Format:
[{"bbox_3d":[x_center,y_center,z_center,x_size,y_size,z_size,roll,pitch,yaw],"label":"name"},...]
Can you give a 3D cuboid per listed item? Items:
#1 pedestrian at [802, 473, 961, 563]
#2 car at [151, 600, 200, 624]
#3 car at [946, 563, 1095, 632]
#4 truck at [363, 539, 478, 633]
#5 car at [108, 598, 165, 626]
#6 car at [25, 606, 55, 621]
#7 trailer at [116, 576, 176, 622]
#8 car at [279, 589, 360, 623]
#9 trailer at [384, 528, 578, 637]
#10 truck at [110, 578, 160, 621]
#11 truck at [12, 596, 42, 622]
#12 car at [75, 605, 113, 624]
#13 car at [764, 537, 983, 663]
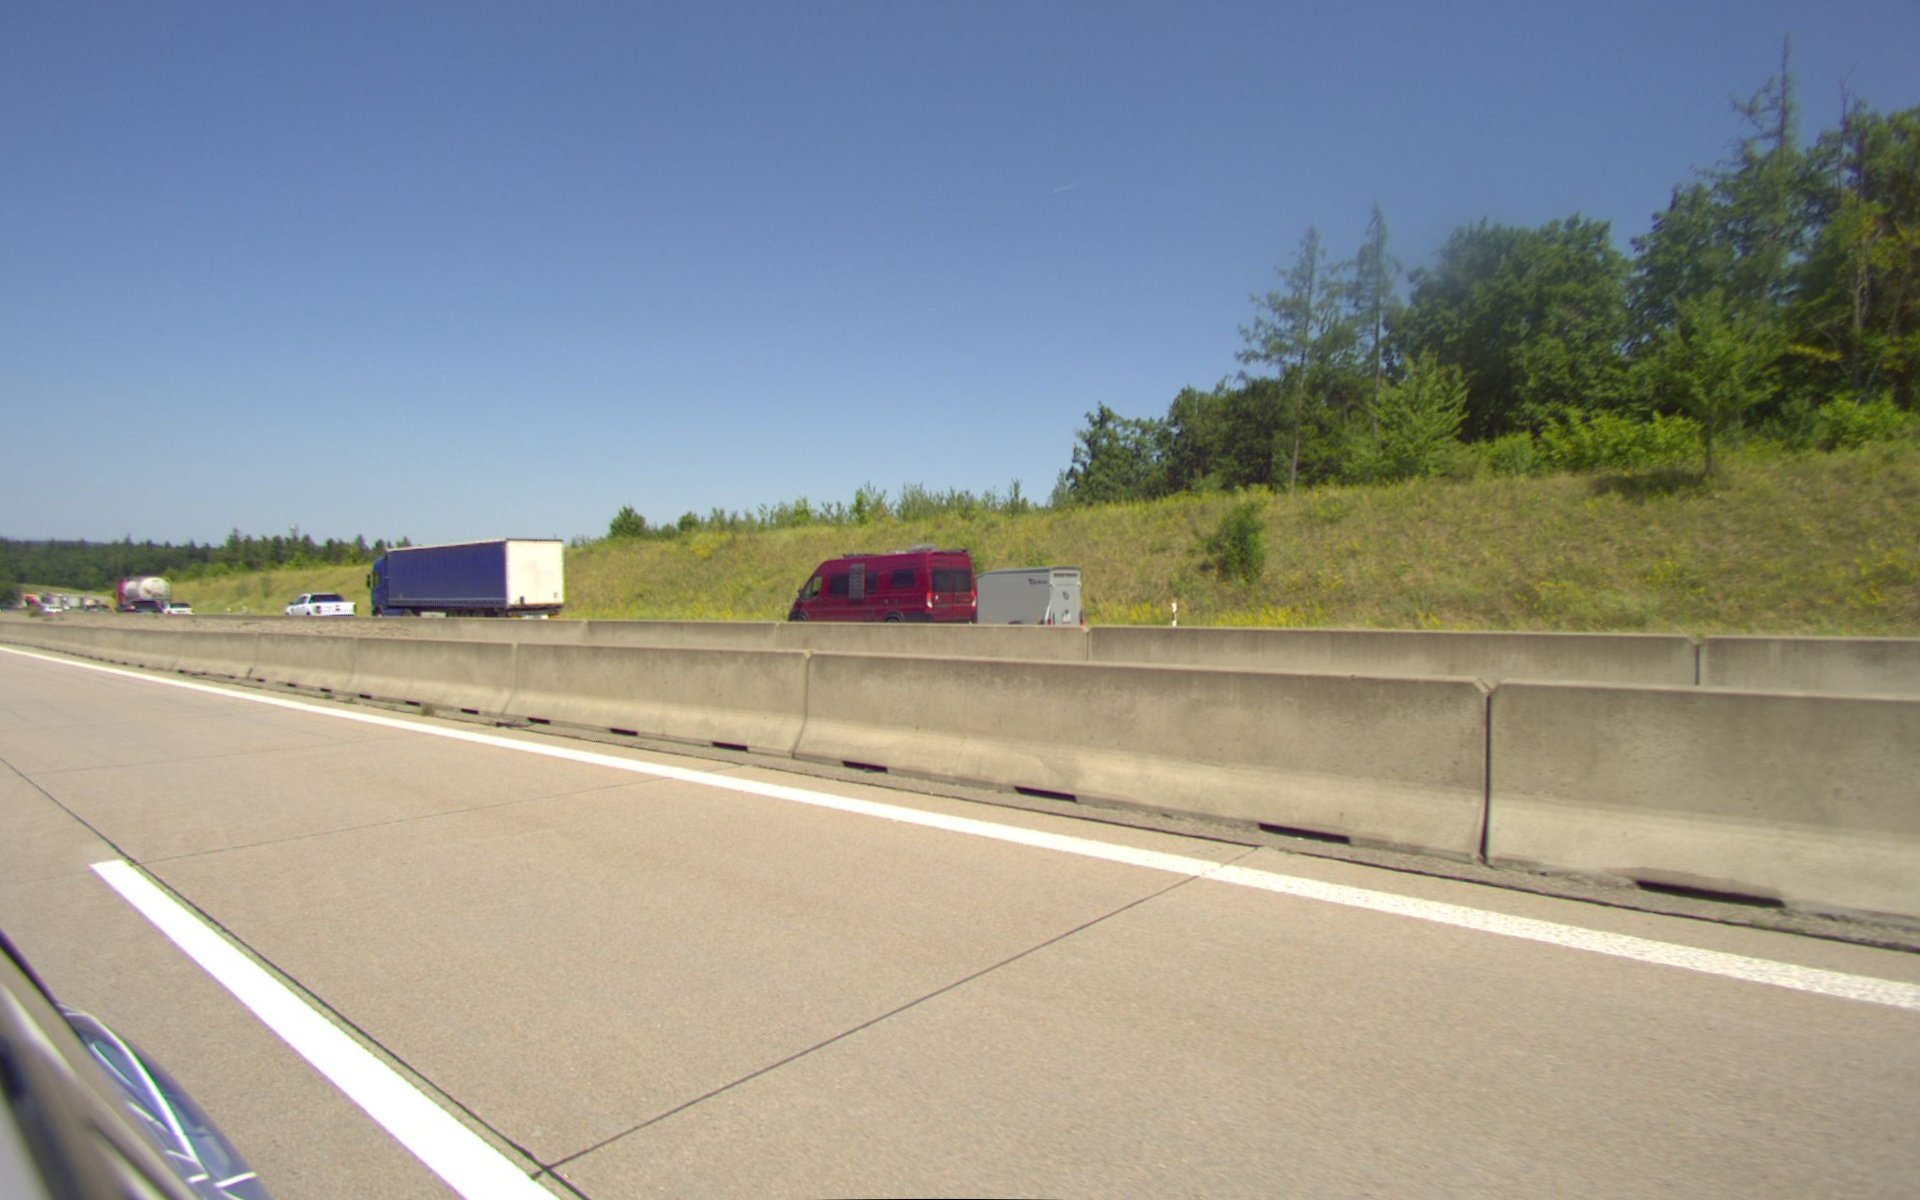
[{"bbox_3d":[-2.122,-2.080,26.744,3.998,2.029,1.973,0,0,41],"label":"pedestrian"},{"bbox_3d":[-55.509,0.837,71.588,4.528,1.595,1.972,-1,-1,42],"label":"car"},{"bbox_3d":[1.503,-0.030,25.854,3.575,1.613,1.597,0,-2,41],"label":"car"},{"bbox_3d":[-28.025,-0.677,52.470,6.572,4.538,3.222,0,0,41],"label":"truck"},{"bbox_3d":[-48.945,0.684,60.112,4.401,1.595,1.972,-1,-1,42],"label":"car"},{"bbox_3d":[-99.123,1.444,109.022,4.178,1.595,1.972,-1,-1,42],"label":"car"},{"bbox_3d":[-77.646,-0.062,96.471,9.331,4.200,2.903,0,0,42],"label":"trailer"},{"bbox_3d":[-31.832,0.324,50.210,5.517,1.595,1.972,-1,-1,42],"label":"car"},{"bbox_3d":[-23.055,-0.704,48.058,13.733,4.538,3.222,0,0,42],"label":"trailer"},{"bbox_3d":[-81.417,-0.041,99.819,5.980,4.200,2.903,0,0,41],"label":"truck"},{"bbox_3d":[-166.746,1.602,180.790,11.256,4.548,2.882,-1,-3,42],"label":"truck"},{"bbox_3d":[-75.830,1.240,88.612,4.428,1.595,1.972,-1,-1,42],"label":"car"},{"bbox_3d":[-2.676,0.040,29.365,7.056,3.266,1.973,-1,-1,41],"label":"car"}]
